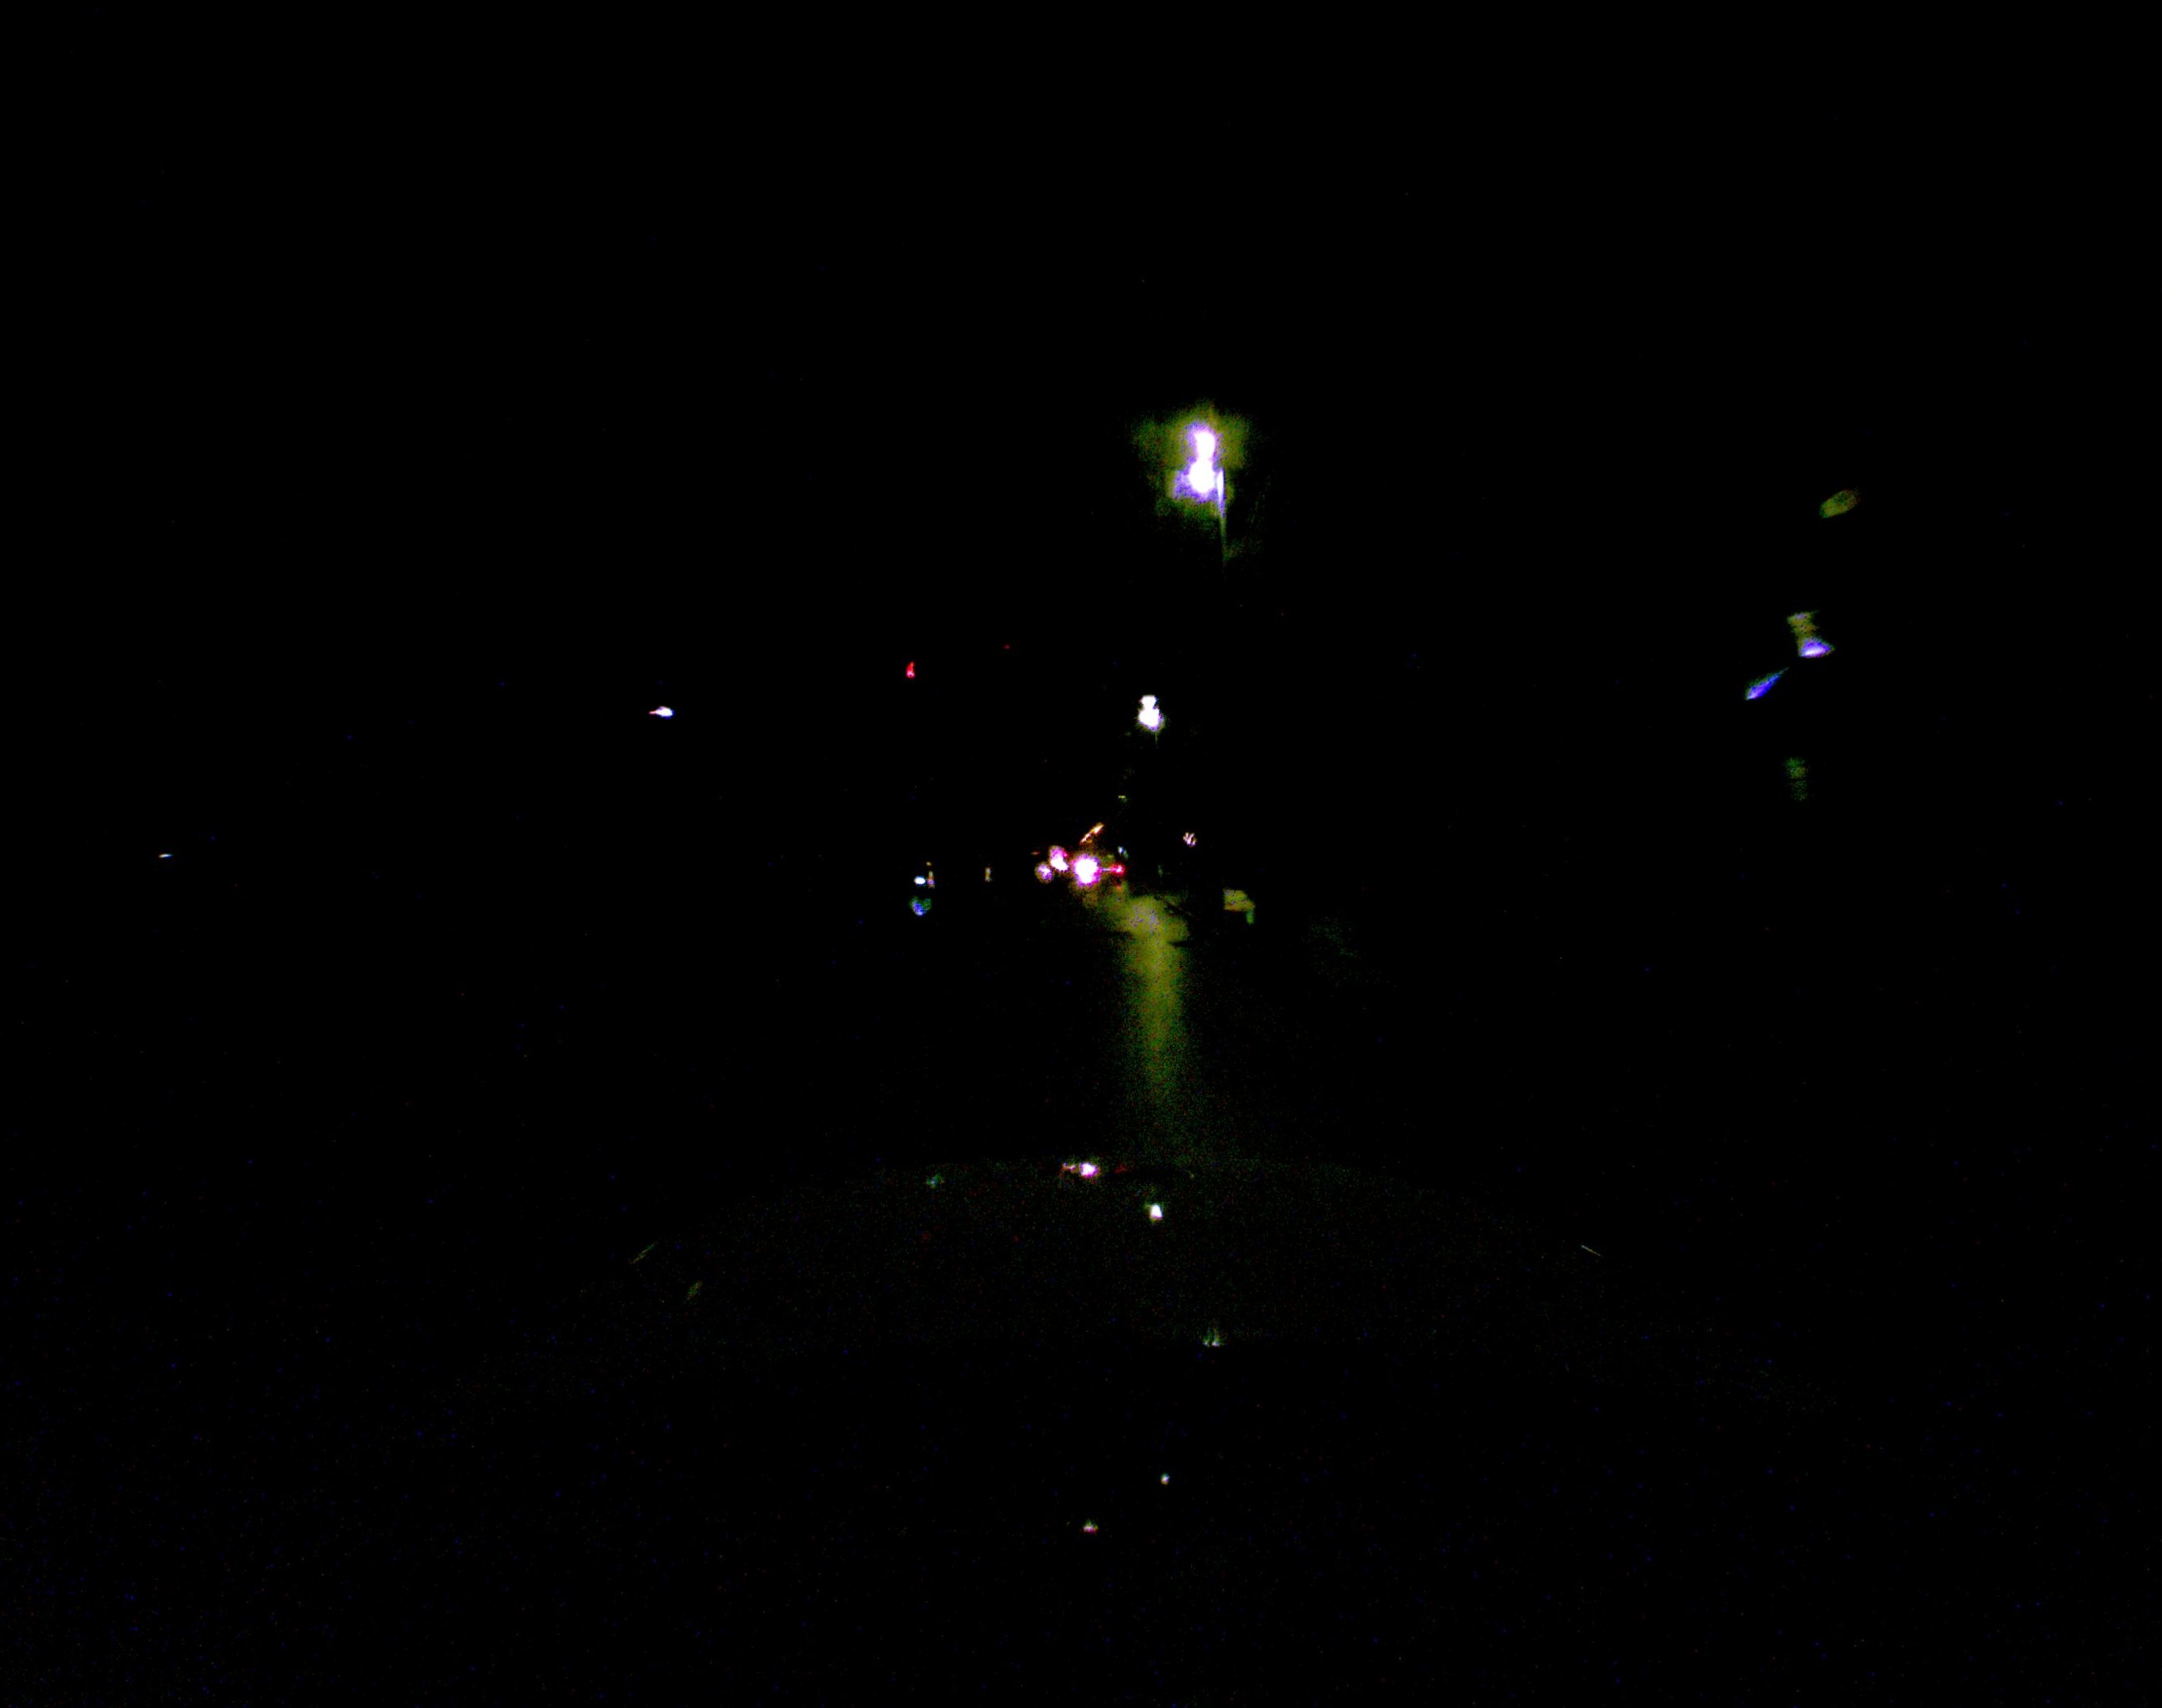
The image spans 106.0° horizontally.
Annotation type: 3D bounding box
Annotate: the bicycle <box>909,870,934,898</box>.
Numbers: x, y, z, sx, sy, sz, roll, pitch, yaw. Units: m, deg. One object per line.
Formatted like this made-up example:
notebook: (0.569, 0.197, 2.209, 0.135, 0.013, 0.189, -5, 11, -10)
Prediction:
bicycle: (-7.287, 1.368, 37.353, 0.628, 1.161, 2.314, -1, 1, 1)

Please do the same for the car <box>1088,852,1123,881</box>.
car: (1.524, 0.781, 52.028, 1.988, 1.684, 3.997, -1, 0, -2)

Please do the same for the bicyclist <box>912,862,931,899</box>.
bicyclist: (-7.303, 1.207, 37.367, 0.634, 1.595, 0.960, -1, 1, 0)
